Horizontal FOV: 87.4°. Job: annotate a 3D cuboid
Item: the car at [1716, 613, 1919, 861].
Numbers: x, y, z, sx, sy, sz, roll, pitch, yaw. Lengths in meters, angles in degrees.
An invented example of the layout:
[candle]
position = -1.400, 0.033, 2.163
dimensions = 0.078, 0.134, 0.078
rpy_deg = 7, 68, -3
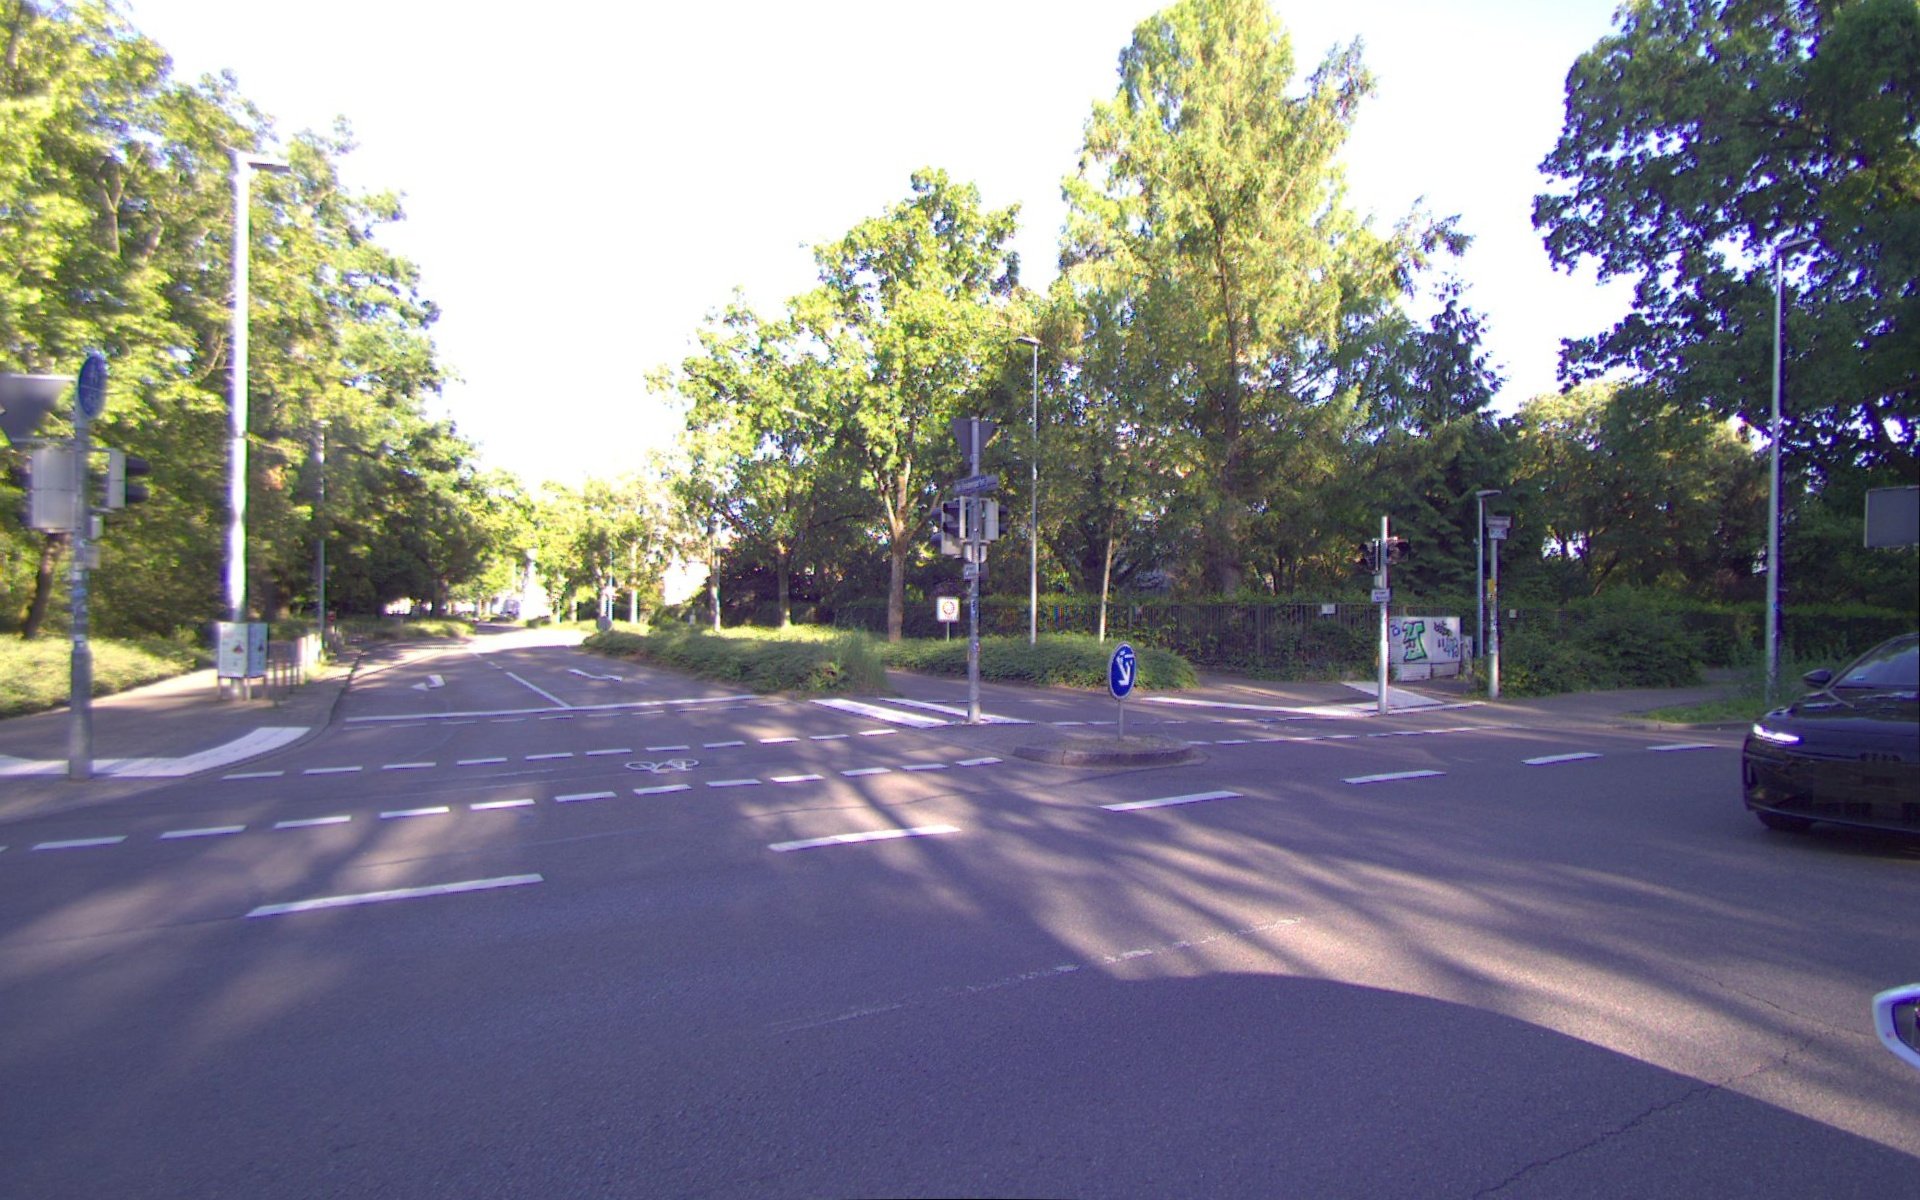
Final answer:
[car]
position = 7.687, 0.893, 7.450
dimensions = 4.314, 1.526, 1.878
rpy_deg = 1, -2, -31
